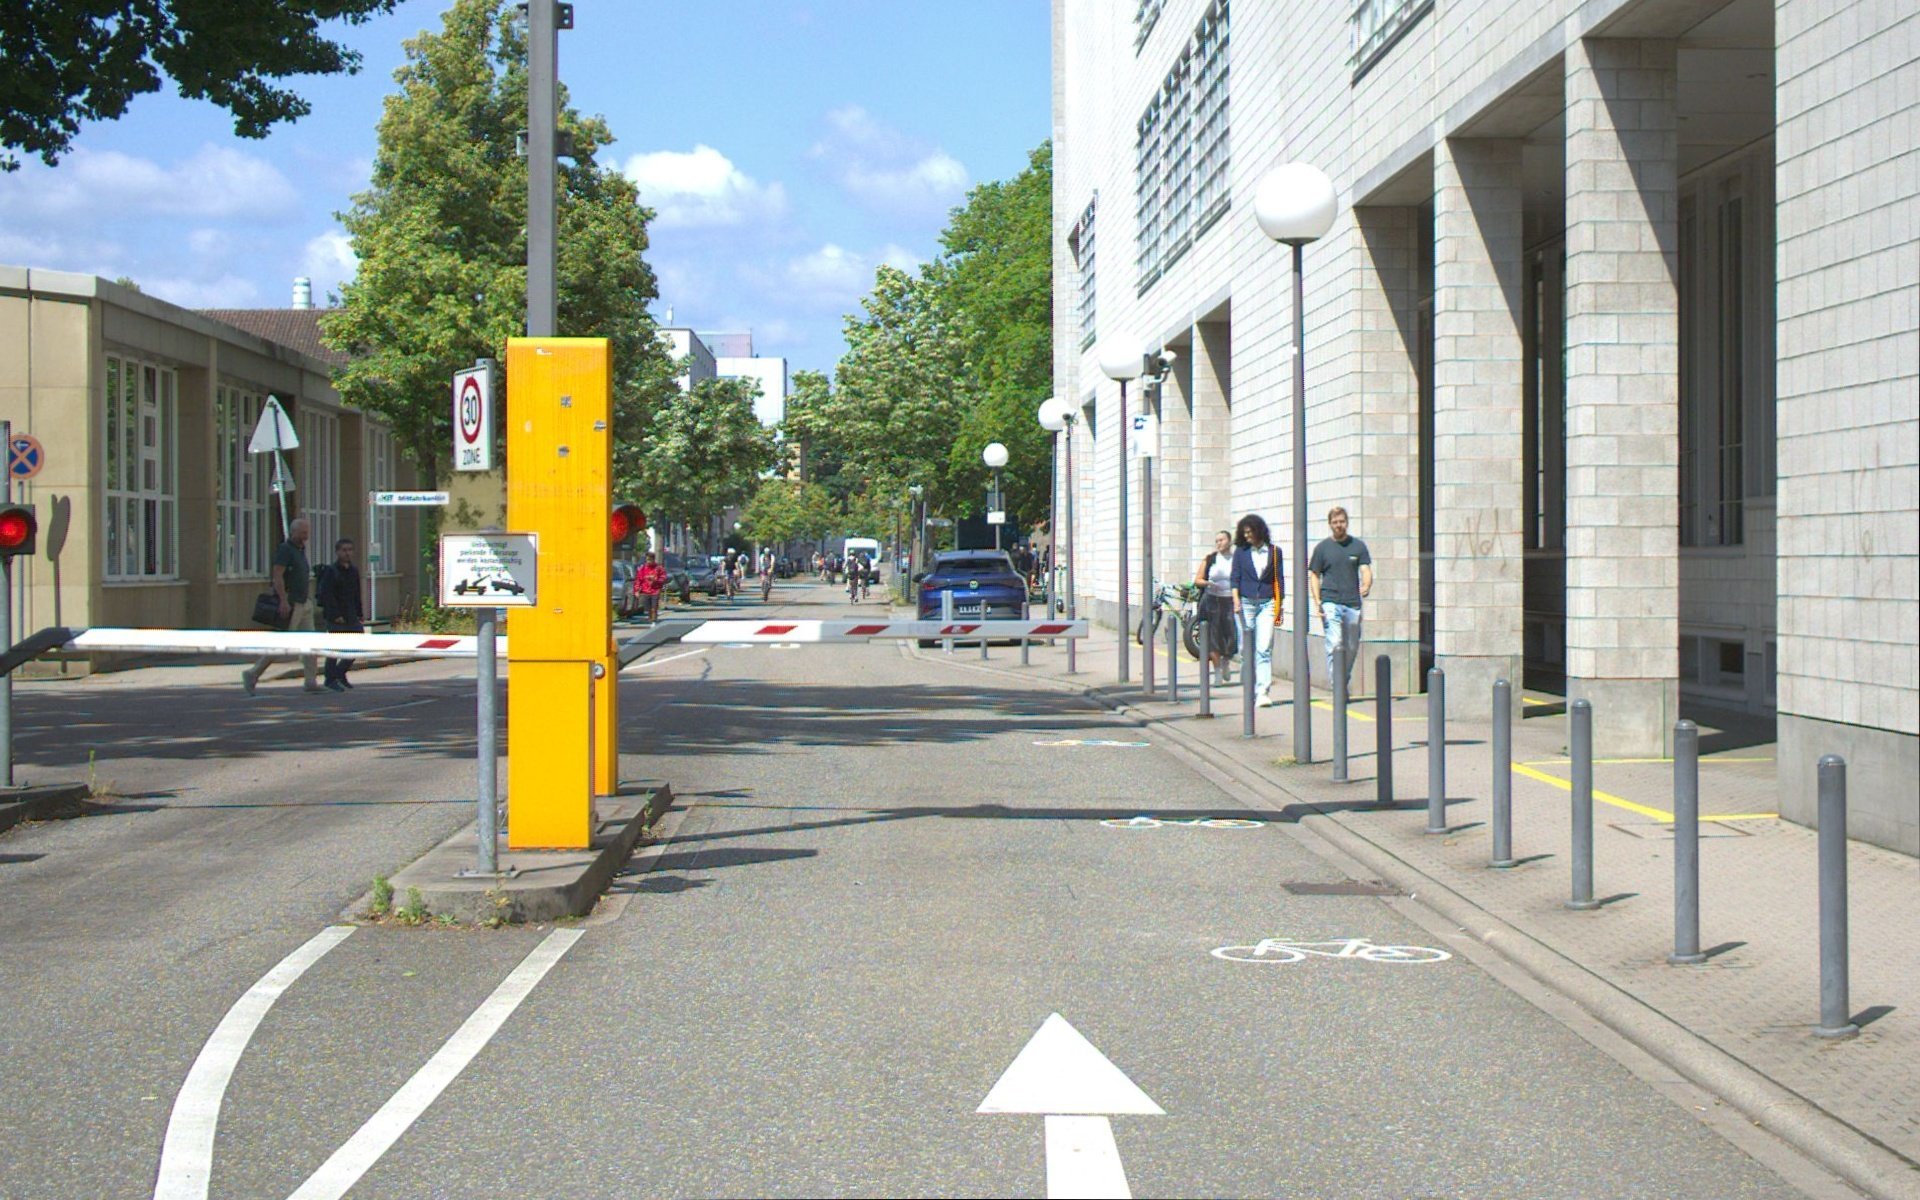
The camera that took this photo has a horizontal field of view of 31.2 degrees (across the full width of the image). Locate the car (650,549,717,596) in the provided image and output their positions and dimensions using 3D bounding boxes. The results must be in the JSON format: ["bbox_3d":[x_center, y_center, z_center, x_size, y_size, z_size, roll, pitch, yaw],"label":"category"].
[{"bbox_3d":[-9.203,-0.938,114.679,1.993,1.540,4.212,0,1,-1],"label":"car"}]

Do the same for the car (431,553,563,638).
[{"bbox_3d":[-8.641,-0.113,64.460,1.993,1.540,4.212,0,1,-1],"label":"car"}]

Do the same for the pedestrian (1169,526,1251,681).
[{"bbox_3d":[2.697,0.026,37.163,0.741,1.627,0.888,-2,1,-3],"label":"pedestrian"}]

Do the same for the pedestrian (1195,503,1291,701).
[{"bbox_3d":[2.607,0.005,31.768,0.694,1.774,1.086,-2,1,-3],"label":"pedestrian"}]

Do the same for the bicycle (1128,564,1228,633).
[{"bbox_3d":[3.457,-0.029,54.504,1.544,1.063,0.647,-1,1,7],"label":"bicycle"}]

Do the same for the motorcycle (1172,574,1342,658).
[{"bbox_3d":[3.867,0.216,44.860,2.123,1.019,0.660,-2,-1,0],"label":"motorcycle"}]

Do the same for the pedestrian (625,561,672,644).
[{"bbox_3d":[-6.124,0.049,67.577,0.893,1.627,0.888,1,0,-4],"label":"pedestrian"}]

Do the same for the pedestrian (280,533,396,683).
[{"bbox_3d":[-6.847,0.090,37.845,0.887,1.627,0.894,0,0,43],"label":"pedestrian"}]

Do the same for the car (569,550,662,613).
[{"bbox_3d":[-8.645,-0.483,86.547,1.993,1.540,4.212,0,1,-1],"label":"car"}]

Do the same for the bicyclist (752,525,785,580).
[{"bbox_3d":[-6.597,-1.630,118.352,0.987,1.877,1.036,0,-1,-13],"label":"bicyclist"}]

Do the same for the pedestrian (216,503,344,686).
[{"bbox_3d":[-7.283,-0.057,36.835,0.887,1.919,1.003,0,0,43],"label":"pedestrian"}]

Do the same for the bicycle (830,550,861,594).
[{"bbox_3d":[-3.699,-0.896,110.834,0.987,1.311,2.964,0,-1,-2],"label":"bicycle"}]

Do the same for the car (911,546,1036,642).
[{"bbox_3d":[0.189,-0.130,57.330,1.993,1.540,4.212,0,1,-1],"label":"car"}]

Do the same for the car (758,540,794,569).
[{"bbox_3d":[-11.742,-2.889,219.436,1.993,1.714,4.000,0,-1,1],"label":"car"}]

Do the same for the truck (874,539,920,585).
[{"bbox_3d":[-2.990,-1.781,162.514,1.993,2.007,4.000,0,-1,-3],"label":"truck"}]

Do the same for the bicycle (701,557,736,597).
[{"bbox_3d":[-8.303,-0.777,118.194,0.987,1.311,2.964,0,-1,-8],"label":"bicycle"}]

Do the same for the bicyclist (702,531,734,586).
[{"bbox_3d":[-8.318,-1.422,118.131,0.987,1.877,1.036,0,-1,-9],"label":"bicyclist"}]

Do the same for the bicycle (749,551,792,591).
[{"bbox_3d":[-6.533,-0.982,118.194,0.987,1.311,2.965,0,-1,-12],"label":"bicycle"}]

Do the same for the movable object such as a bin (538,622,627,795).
[{"bbox_3d":[-2.014,0.573,18.359,0.416,0.902,0.353,0,1,3],"label":"movable object such as a bin"}]

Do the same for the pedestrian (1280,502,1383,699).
[{"bbox_3d":[3.423,-0.003,31.752,0.767,1.774,0.911,-2,1,-3],"label":"pedestrian"}]

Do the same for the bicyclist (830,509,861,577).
[{"bbox_3d":[-3.700,-1.836,110.903,0.987,2.125,1.036,0,-1,-2],"label":"bicyclist"}]

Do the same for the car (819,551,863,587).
[{"bbox_3d":[-5.962,-1.543,172.442,1.993,1.714,4.000,0,-1,1],"label":"car"}]
